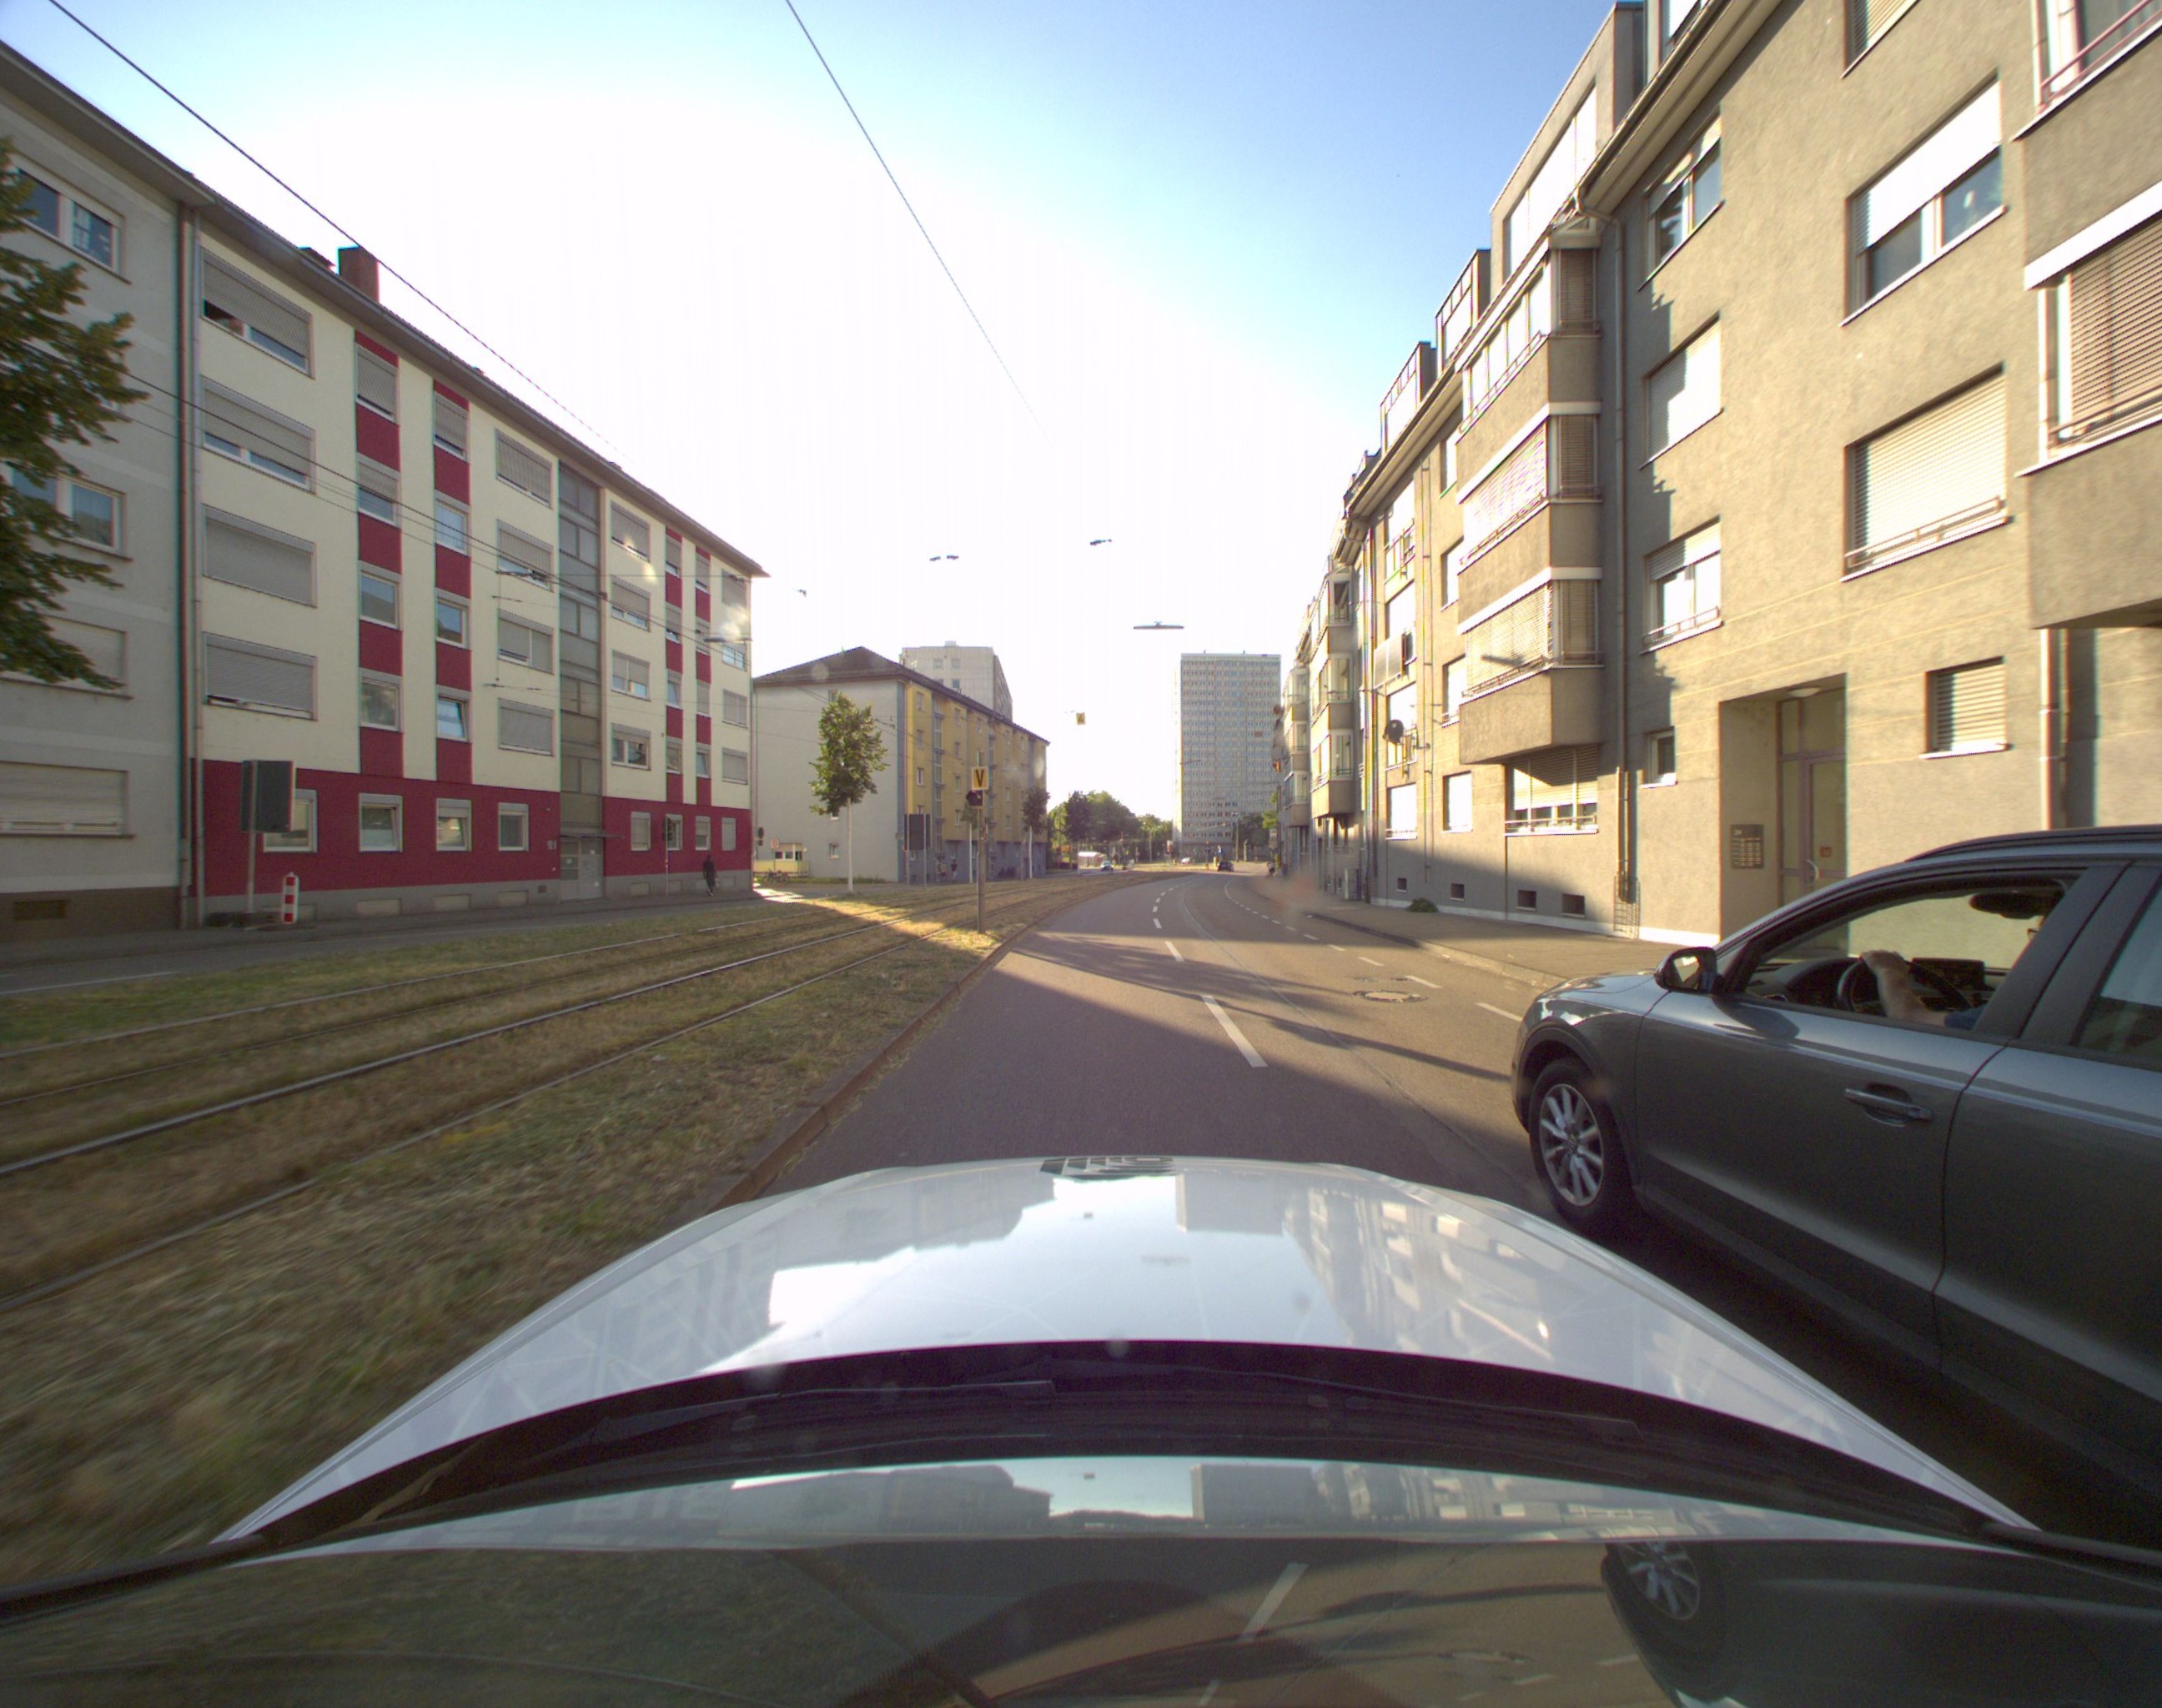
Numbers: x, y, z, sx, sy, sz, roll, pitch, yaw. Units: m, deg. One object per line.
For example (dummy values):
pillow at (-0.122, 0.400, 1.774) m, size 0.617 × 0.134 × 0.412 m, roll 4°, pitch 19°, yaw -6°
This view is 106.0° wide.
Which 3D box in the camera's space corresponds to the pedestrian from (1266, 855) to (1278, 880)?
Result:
pedestrian at (14.045, 0.999, 59.889) m, size 0.824 × 1.772 × 0.999 m, roll -1°, pitch 0°, yaw 11°

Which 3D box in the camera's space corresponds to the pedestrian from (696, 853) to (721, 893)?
pedestrian at (-15.929, 0.813, 34.857) m, size 0.610 × 1.689 × 0.793 m, roll 0°, pitch 0°, yaw 6°

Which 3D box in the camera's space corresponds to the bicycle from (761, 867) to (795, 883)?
bicycle at (-19.644, 1.353, 52.764) m, size 1.952 × 1.076 × 0.602 m, roll 0°, pitch -1°, yaw -6°

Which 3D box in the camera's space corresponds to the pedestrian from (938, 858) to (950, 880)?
pedestrian at (-10.756, 1.179, 63.866) m, size 0.612 × 1.694 × 0.708 m, roll 4°, pitch 1°, yaw 11°

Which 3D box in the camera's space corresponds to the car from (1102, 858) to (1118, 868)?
car at (4.542, 1.494, 128.709) m, size 1.782 × 1.469 × 4.810 m, roll -2°, pitch -1°, yaw 11°

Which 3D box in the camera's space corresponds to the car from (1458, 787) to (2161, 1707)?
car at (2.752, 0.671, 2.129) m, size 1.760 × 1.587 × 4.069 m, roll 0°, pitch 0°, yaw 2°

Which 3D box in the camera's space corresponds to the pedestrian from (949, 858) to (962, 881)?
pedestrian at (-9.903, 1.212, 64.288) m, size 0.589 × 1.773 × 0.888 m, roll 4°, pitch 1°, yaw 11°

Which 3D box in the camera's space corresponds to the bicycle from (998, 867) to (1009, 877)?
bicycle at (-7.499, 1.720, 79.094) m, size 0.424 × 0.925 × 1.918 m, roll 3°, pitch 0°, yaw 13°

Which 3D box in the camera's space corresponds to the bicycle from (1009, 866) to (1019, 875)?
bicycle at (-6.798, 1.672, 82.874) m, size 0.424 × 0.960 × 1.918 m, roll 0°, pitch -1°, yaw 13°

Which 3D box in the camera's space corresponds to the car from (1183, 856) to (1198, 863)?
car at (25.269, 1.329, 188.040) m, size 1.996 × 1.530 × 3.981 m, roll -1°, pitch 0°, yaw -14°

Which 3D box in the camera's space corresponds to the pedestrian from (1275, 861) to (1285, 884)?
pedestrian at (12.123, 1.128, 49.689) m, size 0.511 × 1.344 × 0.610 m, roll -1°, pitch -1°, yaw 8°

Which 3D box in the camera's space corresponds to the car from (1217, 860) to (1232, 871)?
car at (19.123, 1.471, 108.215) m, size 1.760 × 1.422 × 3.870 m, roll -1°, pitch 0°, yaw 13°

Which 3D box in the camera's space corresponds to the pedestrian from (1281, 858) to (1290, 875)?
pedestrian at (14.946, 0.912, 59.561) m, size 0.583 × 1.251 × 0.586 m, roll -1°, pitch 0°, yaw 11°

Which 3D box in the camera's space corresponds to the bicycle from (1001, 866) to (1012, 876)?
bicycle at (-7.362, 1.713, 80.369) m, size 0.424 × 0.925 × 1.918 m, roll 3°, pitch 0°, yaw 13°
